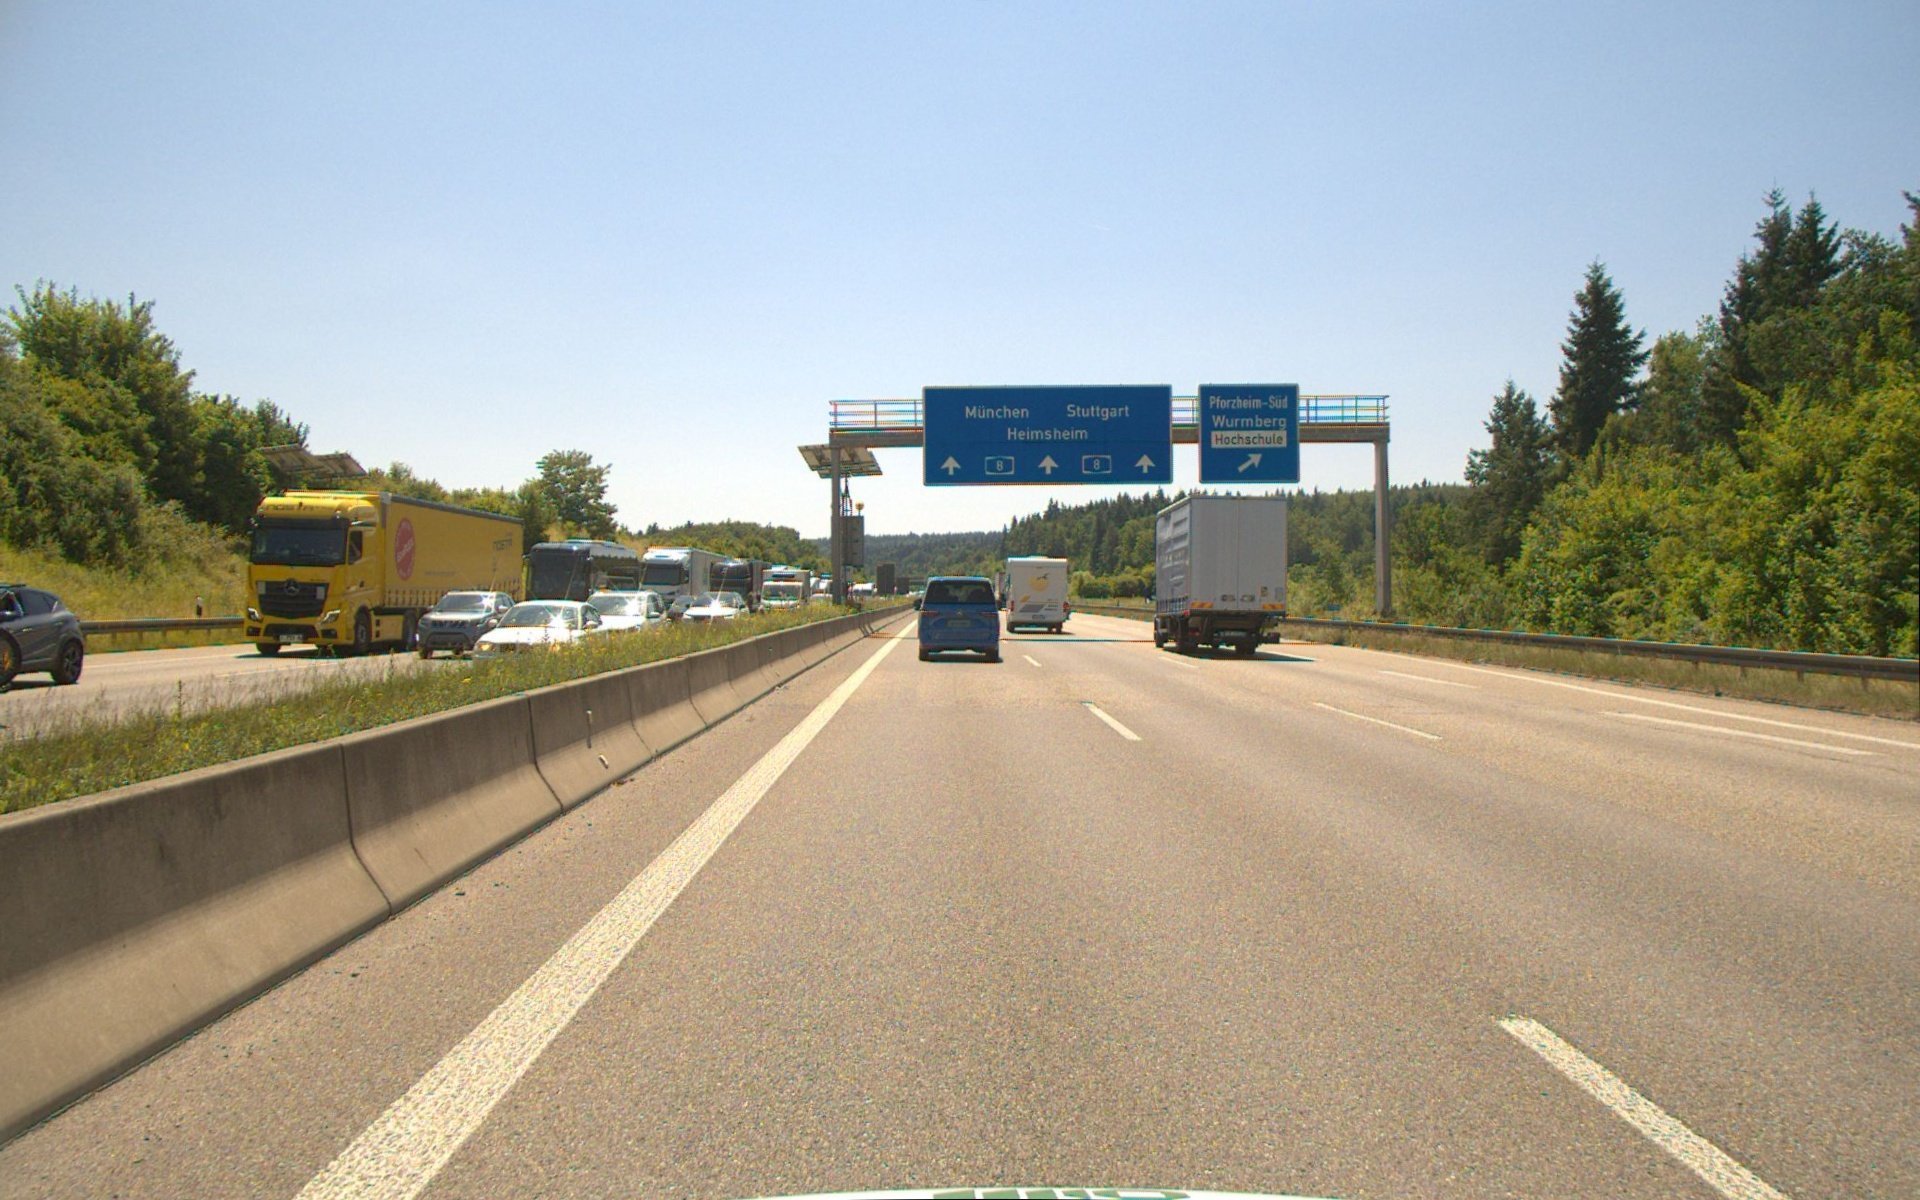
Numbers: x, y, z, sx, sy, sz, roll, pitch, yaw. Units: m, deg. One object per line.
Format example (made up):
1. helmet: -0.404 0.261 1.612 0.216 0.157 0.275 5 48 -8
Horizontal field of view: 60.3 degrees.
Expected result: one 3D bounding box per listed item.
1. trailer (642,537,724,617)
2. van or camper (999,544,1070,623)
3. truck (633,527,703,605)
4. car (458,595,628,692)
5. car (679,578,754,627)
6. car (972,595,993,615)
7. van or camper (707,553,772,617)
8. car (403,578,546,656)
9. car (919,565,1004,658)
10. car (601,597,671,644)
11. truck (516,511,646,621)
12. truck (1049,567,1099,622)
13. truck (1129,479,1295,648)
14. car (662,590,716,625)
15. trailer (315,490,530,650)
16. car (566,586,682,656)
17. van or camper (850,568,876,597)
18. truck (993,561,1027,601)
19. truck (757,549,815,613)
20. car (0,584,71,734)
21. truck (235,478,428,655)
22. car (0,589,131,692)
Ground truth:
1. trailer: -16.225 -1.273 97.810 2.724 4.380 11.711 -1 0 1
2. van or camper: 3.062 -0.757 69.754 2.550 3.132 7.182 1 2 -1
3. truck: -16.304 -1.806 92.756 2.725 4.186 7.028 -1 0 -1
4. car: -7.179 0.704 28.979 1.774 1.539 4.817 1 0 0
5. car: -8.022 0.081 54.948 1.774 1.539 5.029 1 0 0
6. car: 2.043 0.448 149.559 1.781 1.825 3.894 1 0 -1
7. van or camper: -12.270 -0.790 92.641 2.477 3.418 7.944 1 0 1
8. car: -11.882 0.397 40.930 1.824 1.783 5.901 1 0 0
9. car: 0.000 0.223 38.908 1.870 2.049 3.999 -1 1 -1
10. car: -11.951 0.738 61.254 1.739 1.641 4.557 1 0 0
11. truck: -15.912 -1.321 70.457 2.994 4.295 11.485 1 0 -1
12. truck: 7.968 -0.447 116.822 2.868 3.637 8.526 -1 1 0
13. truck: 6.812 -0.911 46.299 2.727 4.200 9.735 1 0 -2
14. car: -12.452 0.339 76.205 1.739 1.576 4.759 0 0 0
15. trailer: -15.802 -0.776 49.796 2.596 4.217 11.855 1 0 0
16. car: -7.943 0.475 39.542 1.774 1.539 5.029 1 0 0
17. van or camper: -9.175 -1.634 157.391 2.148 2.585 6.415 -1 0 -1
18. truck: 5.433 -2.071 182.226 3.416 4.243 8.640 1 0 0
19. truck: -8.186 -0.874 78.408 2.077 2.891 6.211 1 0 0
20. car: -11.442 0.637 16.948 1.774 1.657 5.381 1 0 0
21. truck: -15.802 -0.786 42.064 2.549 4.135 6.132 1 0 0
22. car: -15.219 0.601 26.276 1.774 1.539 4.600 1 0 0
